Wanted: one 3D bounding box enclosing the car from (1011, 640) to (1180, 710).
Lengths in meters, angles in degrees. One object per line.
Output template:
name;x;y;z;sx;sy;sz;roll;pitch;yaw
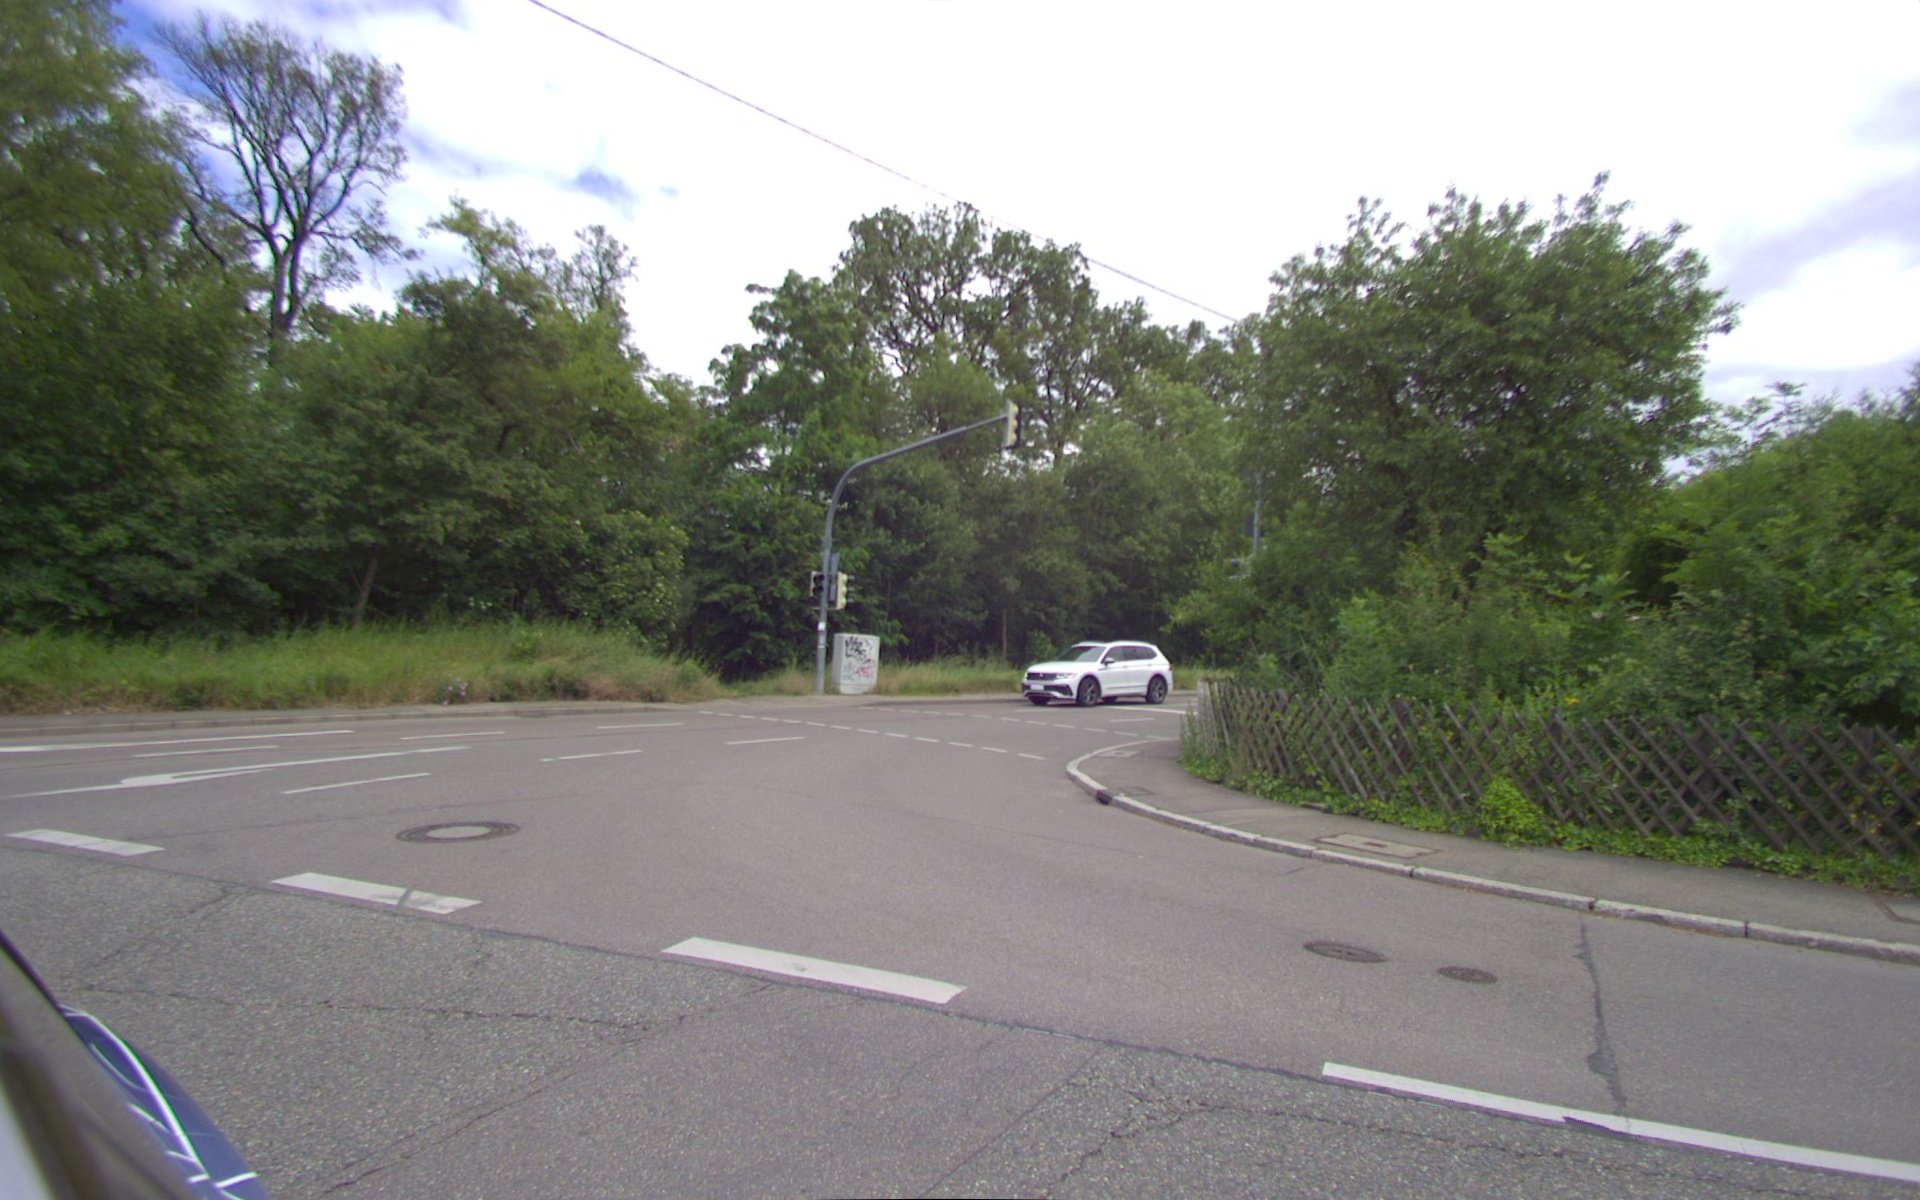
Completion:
car;3.596;1.958;26.291;4.582;1.640;1.866;5;-5;-42
